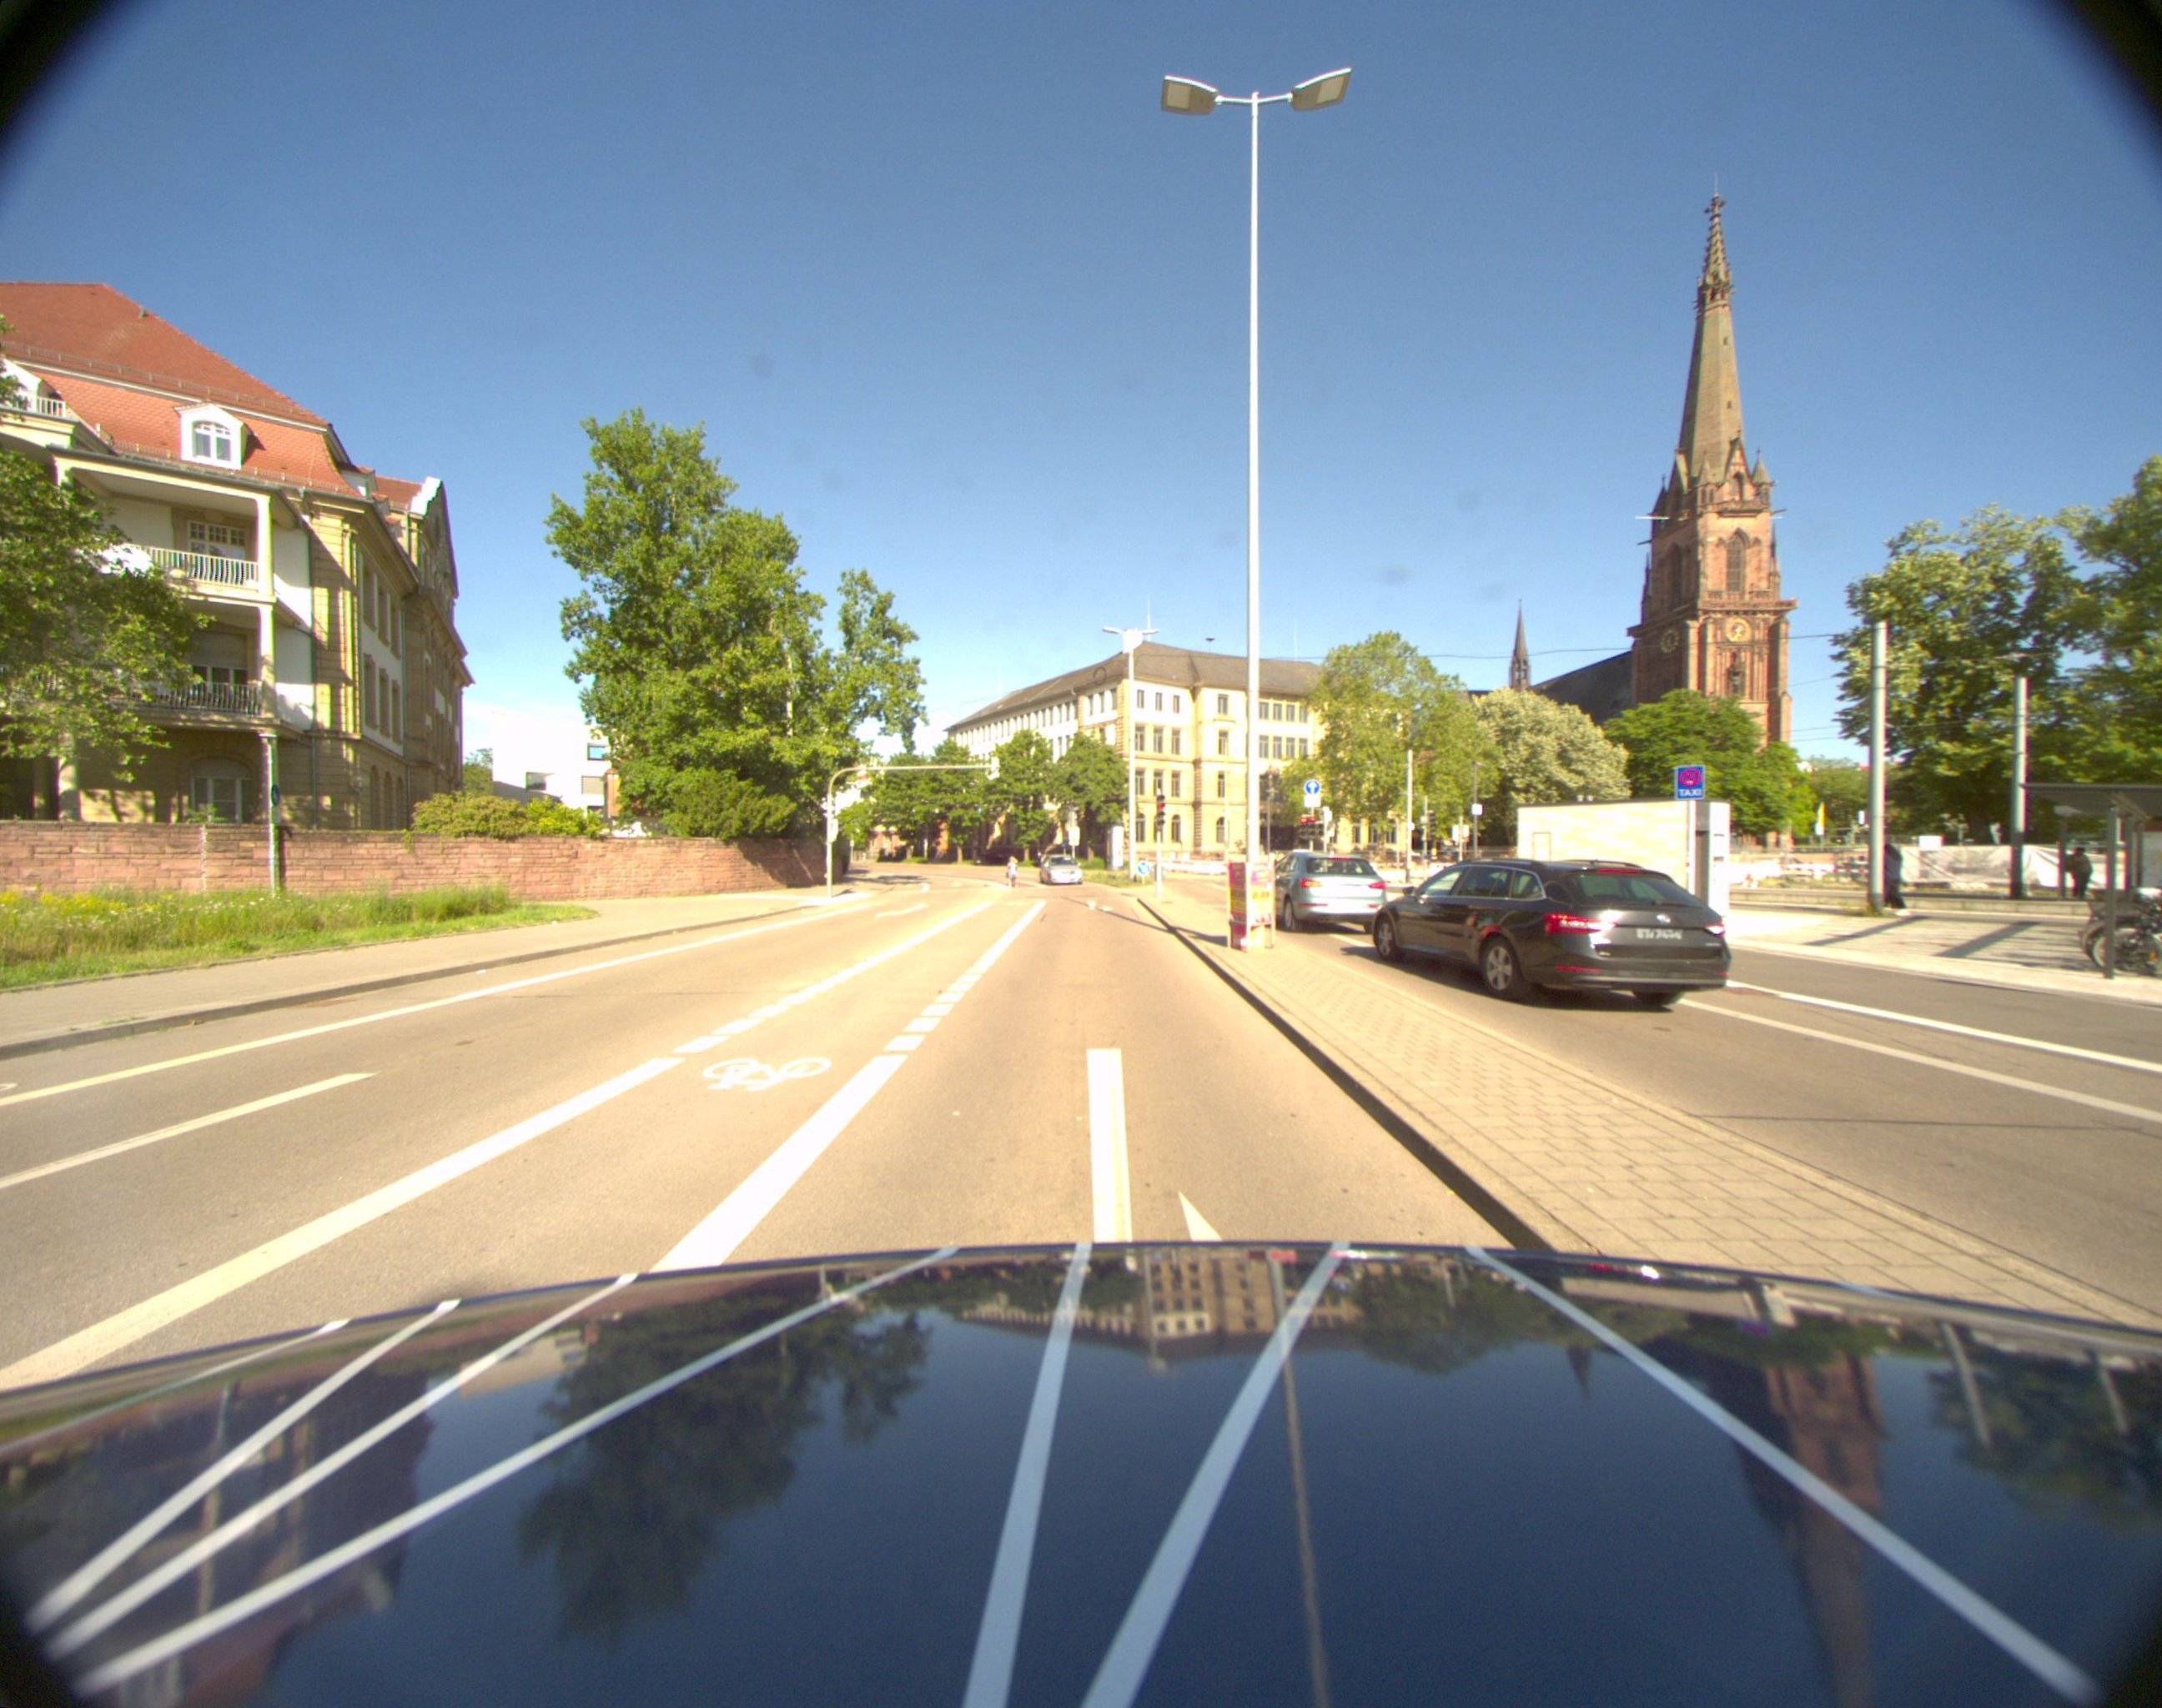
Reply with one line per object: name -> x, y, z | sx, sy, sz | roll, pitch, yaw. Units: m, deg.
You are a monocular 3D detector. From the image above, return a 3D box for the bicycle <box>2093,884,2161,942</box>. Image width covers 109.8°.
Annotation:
bicycle -> 19.509, 1.071, 13.584 | 0.407, 0.993, 1.679 | -3, 2, -33

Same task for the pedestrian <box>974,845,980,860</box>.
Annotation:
pedestrian -> -13.389, -0.188, 97.797 | 0.578, 1.893, 0.781 | -1, 1, -36

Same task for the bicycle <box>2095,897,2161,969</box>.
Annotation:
bicycle -> 16.124, 1.189, 11.003 | 0.407, 0.993, 1.678 | -3, 3, -33

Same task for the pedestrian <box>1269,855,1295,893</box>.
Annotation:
pedestrian -> 8.915, 0.899, 33.769 | 0.933, 1.657, 0.629 | 0, 1, -14

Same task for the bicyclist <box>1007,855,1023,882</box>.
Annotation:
bicyclist -> -3.458, 0.761, 39.797 | 0.741, 1.363, 0.626 | -2, 1, -6

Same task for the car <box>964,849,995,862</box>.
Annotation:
car -> -12.077, 0.146, 90.371 | 1.839, 1.587, 3.989 | -1, 1, -37

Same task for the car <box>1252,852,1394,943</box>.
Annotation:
car -> 4.795, 0.771, 15.706 | 1.791, 1.572, 4.258 | 1, 0, 4

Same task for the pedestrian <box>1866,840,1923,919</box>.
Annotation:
pedestrian -> 19.561, 0.601, 18.278 | 0.702, 1.849, 0.620 | 0, 1, -3

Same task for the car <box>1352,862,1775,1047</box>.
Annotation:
car -> 5.054, 0.902, 8.997 | 1.818, 1.496, 4.783 | 2, 0, -2

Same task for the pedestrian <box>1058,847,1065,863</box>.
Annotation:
pedestrian -> -2.162, 0.086, 83.125 | 0.540, 1.710, 0.545 | -1, 1, -37

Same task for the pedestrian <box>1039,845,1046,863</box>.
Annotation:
pedestrian -> -4.400, -0.018, 87.360 | 0.557, 2.002, 0.645 | -1, 1, -37

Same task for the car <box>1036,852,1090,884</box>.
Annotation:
car -> -1.057, 0.719, 41.541 | 2.001, 1.580, 4.846 | -3, 1, -13

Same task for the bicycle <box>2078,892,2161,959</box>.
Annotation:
bicycle -> 17.180, 1.148, 12.017 | 0.407, 0.993, 1.679 | -3, 2, -33

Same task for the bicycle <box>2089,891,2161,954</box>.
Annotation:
bicycle -> 17.960, 1.144, 12.464 | 0.407, 0.993, 1.679 | -3, 2, -33

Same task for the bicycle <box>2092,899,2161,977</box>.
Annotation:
bicycle -> 15.025, 1.172, 10.213 | 0.407, 0.993, 1.678 | -3, 3, -33

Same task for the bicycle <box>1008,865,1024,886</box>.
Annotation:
bicycle -> -3.429, 1.125, 39.721 | 0.741, 0.989, 2.305 | -2, 1, -6

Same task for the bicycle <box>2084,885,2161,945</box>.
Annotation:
bicycle -> 19.023, 1.090, 13.342 | 0.407, 0.993, 1.679 | -3, 2, -33

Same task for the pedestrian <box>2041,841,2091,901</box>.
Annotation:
pedestrian -> 30.604, 0.509, 23.615 | 0.619, 1.849, 0.703 | 0, 1, 11

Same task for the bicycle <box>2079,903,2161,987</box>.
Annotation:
bicycle -> 13.980, 1.195, 9.555 | 0.407, 0.993, 1.678 | -3, 3, -33
